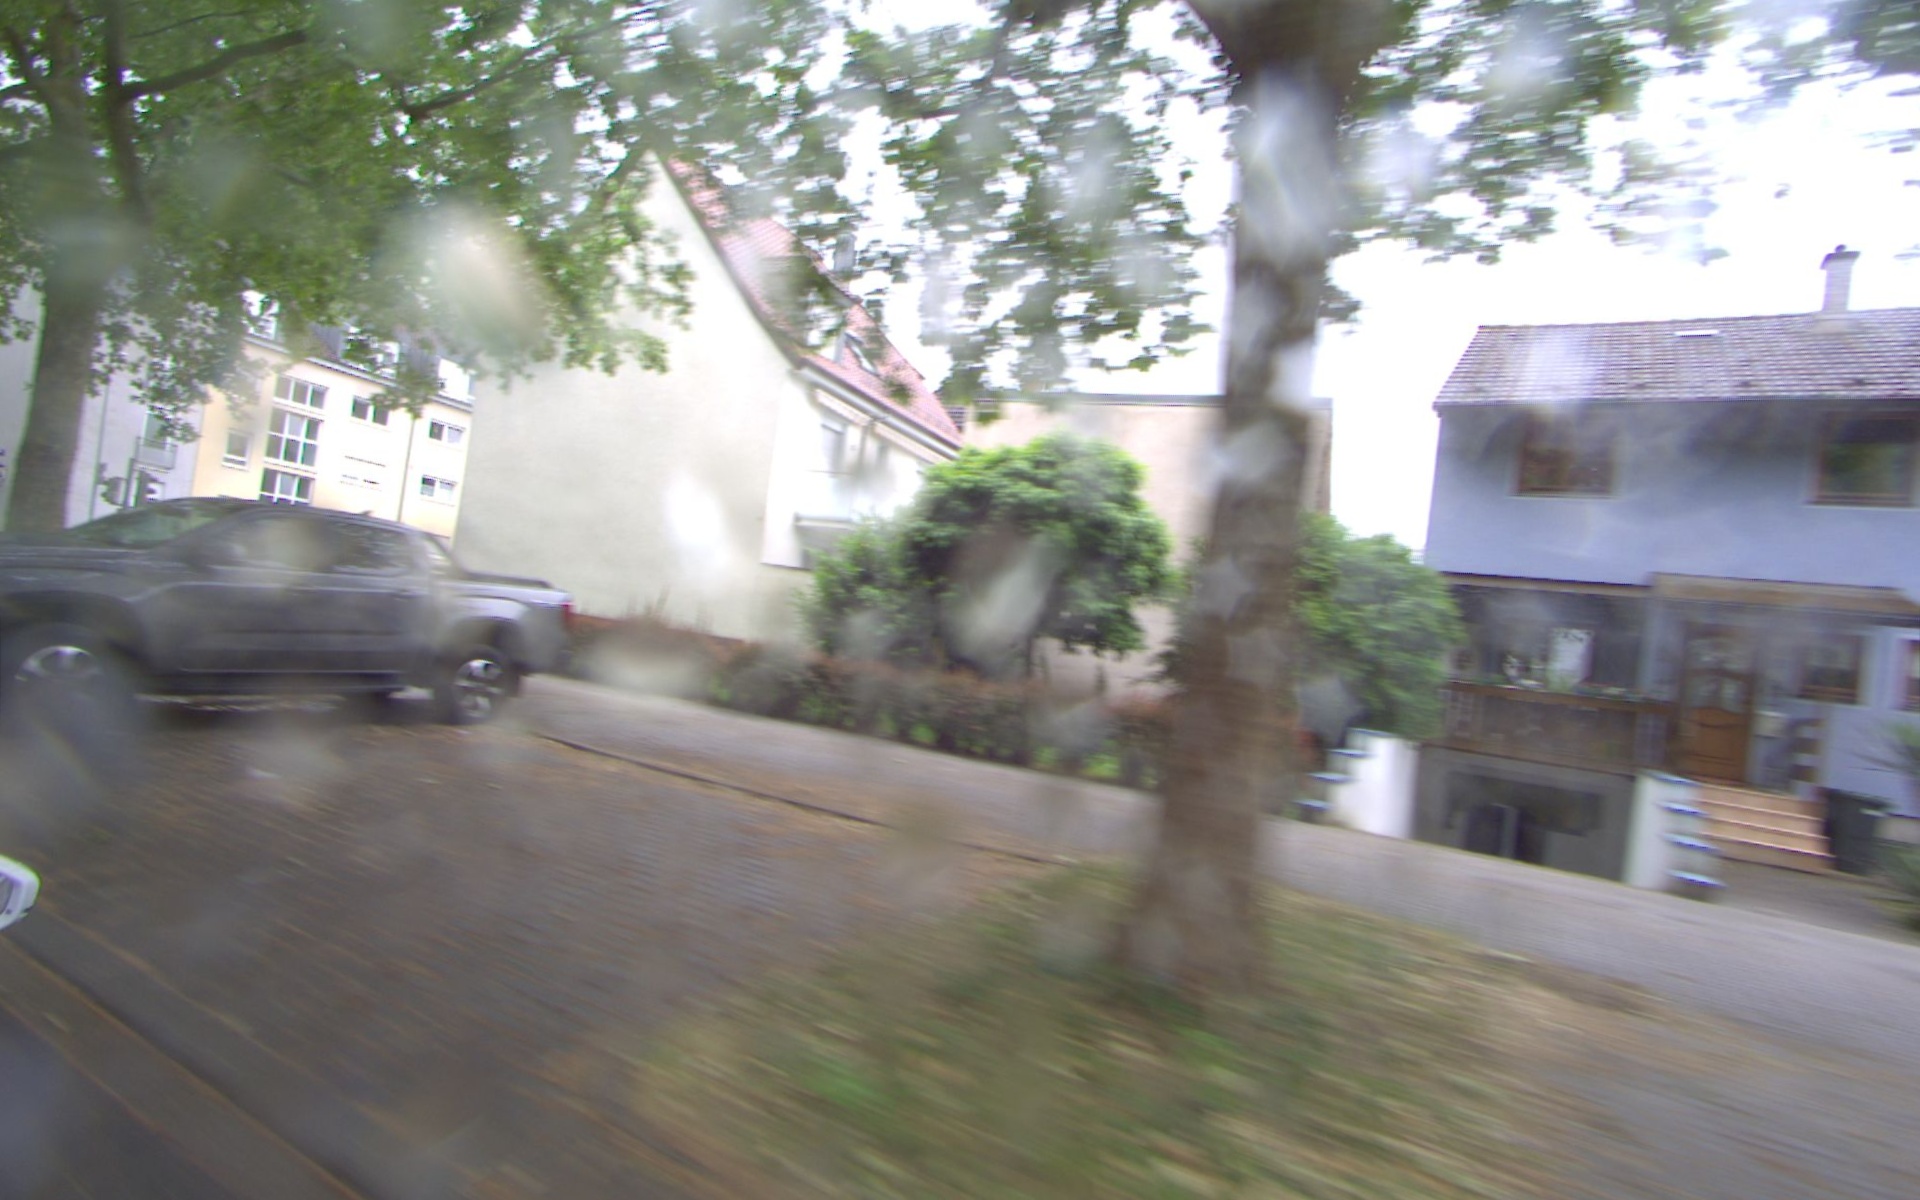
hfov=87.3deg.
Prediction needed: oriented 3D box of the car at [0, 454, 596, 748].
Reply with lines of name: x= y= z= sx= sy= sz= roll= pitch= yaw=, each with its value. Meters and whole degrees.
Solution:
car: x=-5.875 y=0.072 z=8.594 sx=1.812 sy=1.828 sz=5.353 roll=7 pitch=-1 yaw=25
